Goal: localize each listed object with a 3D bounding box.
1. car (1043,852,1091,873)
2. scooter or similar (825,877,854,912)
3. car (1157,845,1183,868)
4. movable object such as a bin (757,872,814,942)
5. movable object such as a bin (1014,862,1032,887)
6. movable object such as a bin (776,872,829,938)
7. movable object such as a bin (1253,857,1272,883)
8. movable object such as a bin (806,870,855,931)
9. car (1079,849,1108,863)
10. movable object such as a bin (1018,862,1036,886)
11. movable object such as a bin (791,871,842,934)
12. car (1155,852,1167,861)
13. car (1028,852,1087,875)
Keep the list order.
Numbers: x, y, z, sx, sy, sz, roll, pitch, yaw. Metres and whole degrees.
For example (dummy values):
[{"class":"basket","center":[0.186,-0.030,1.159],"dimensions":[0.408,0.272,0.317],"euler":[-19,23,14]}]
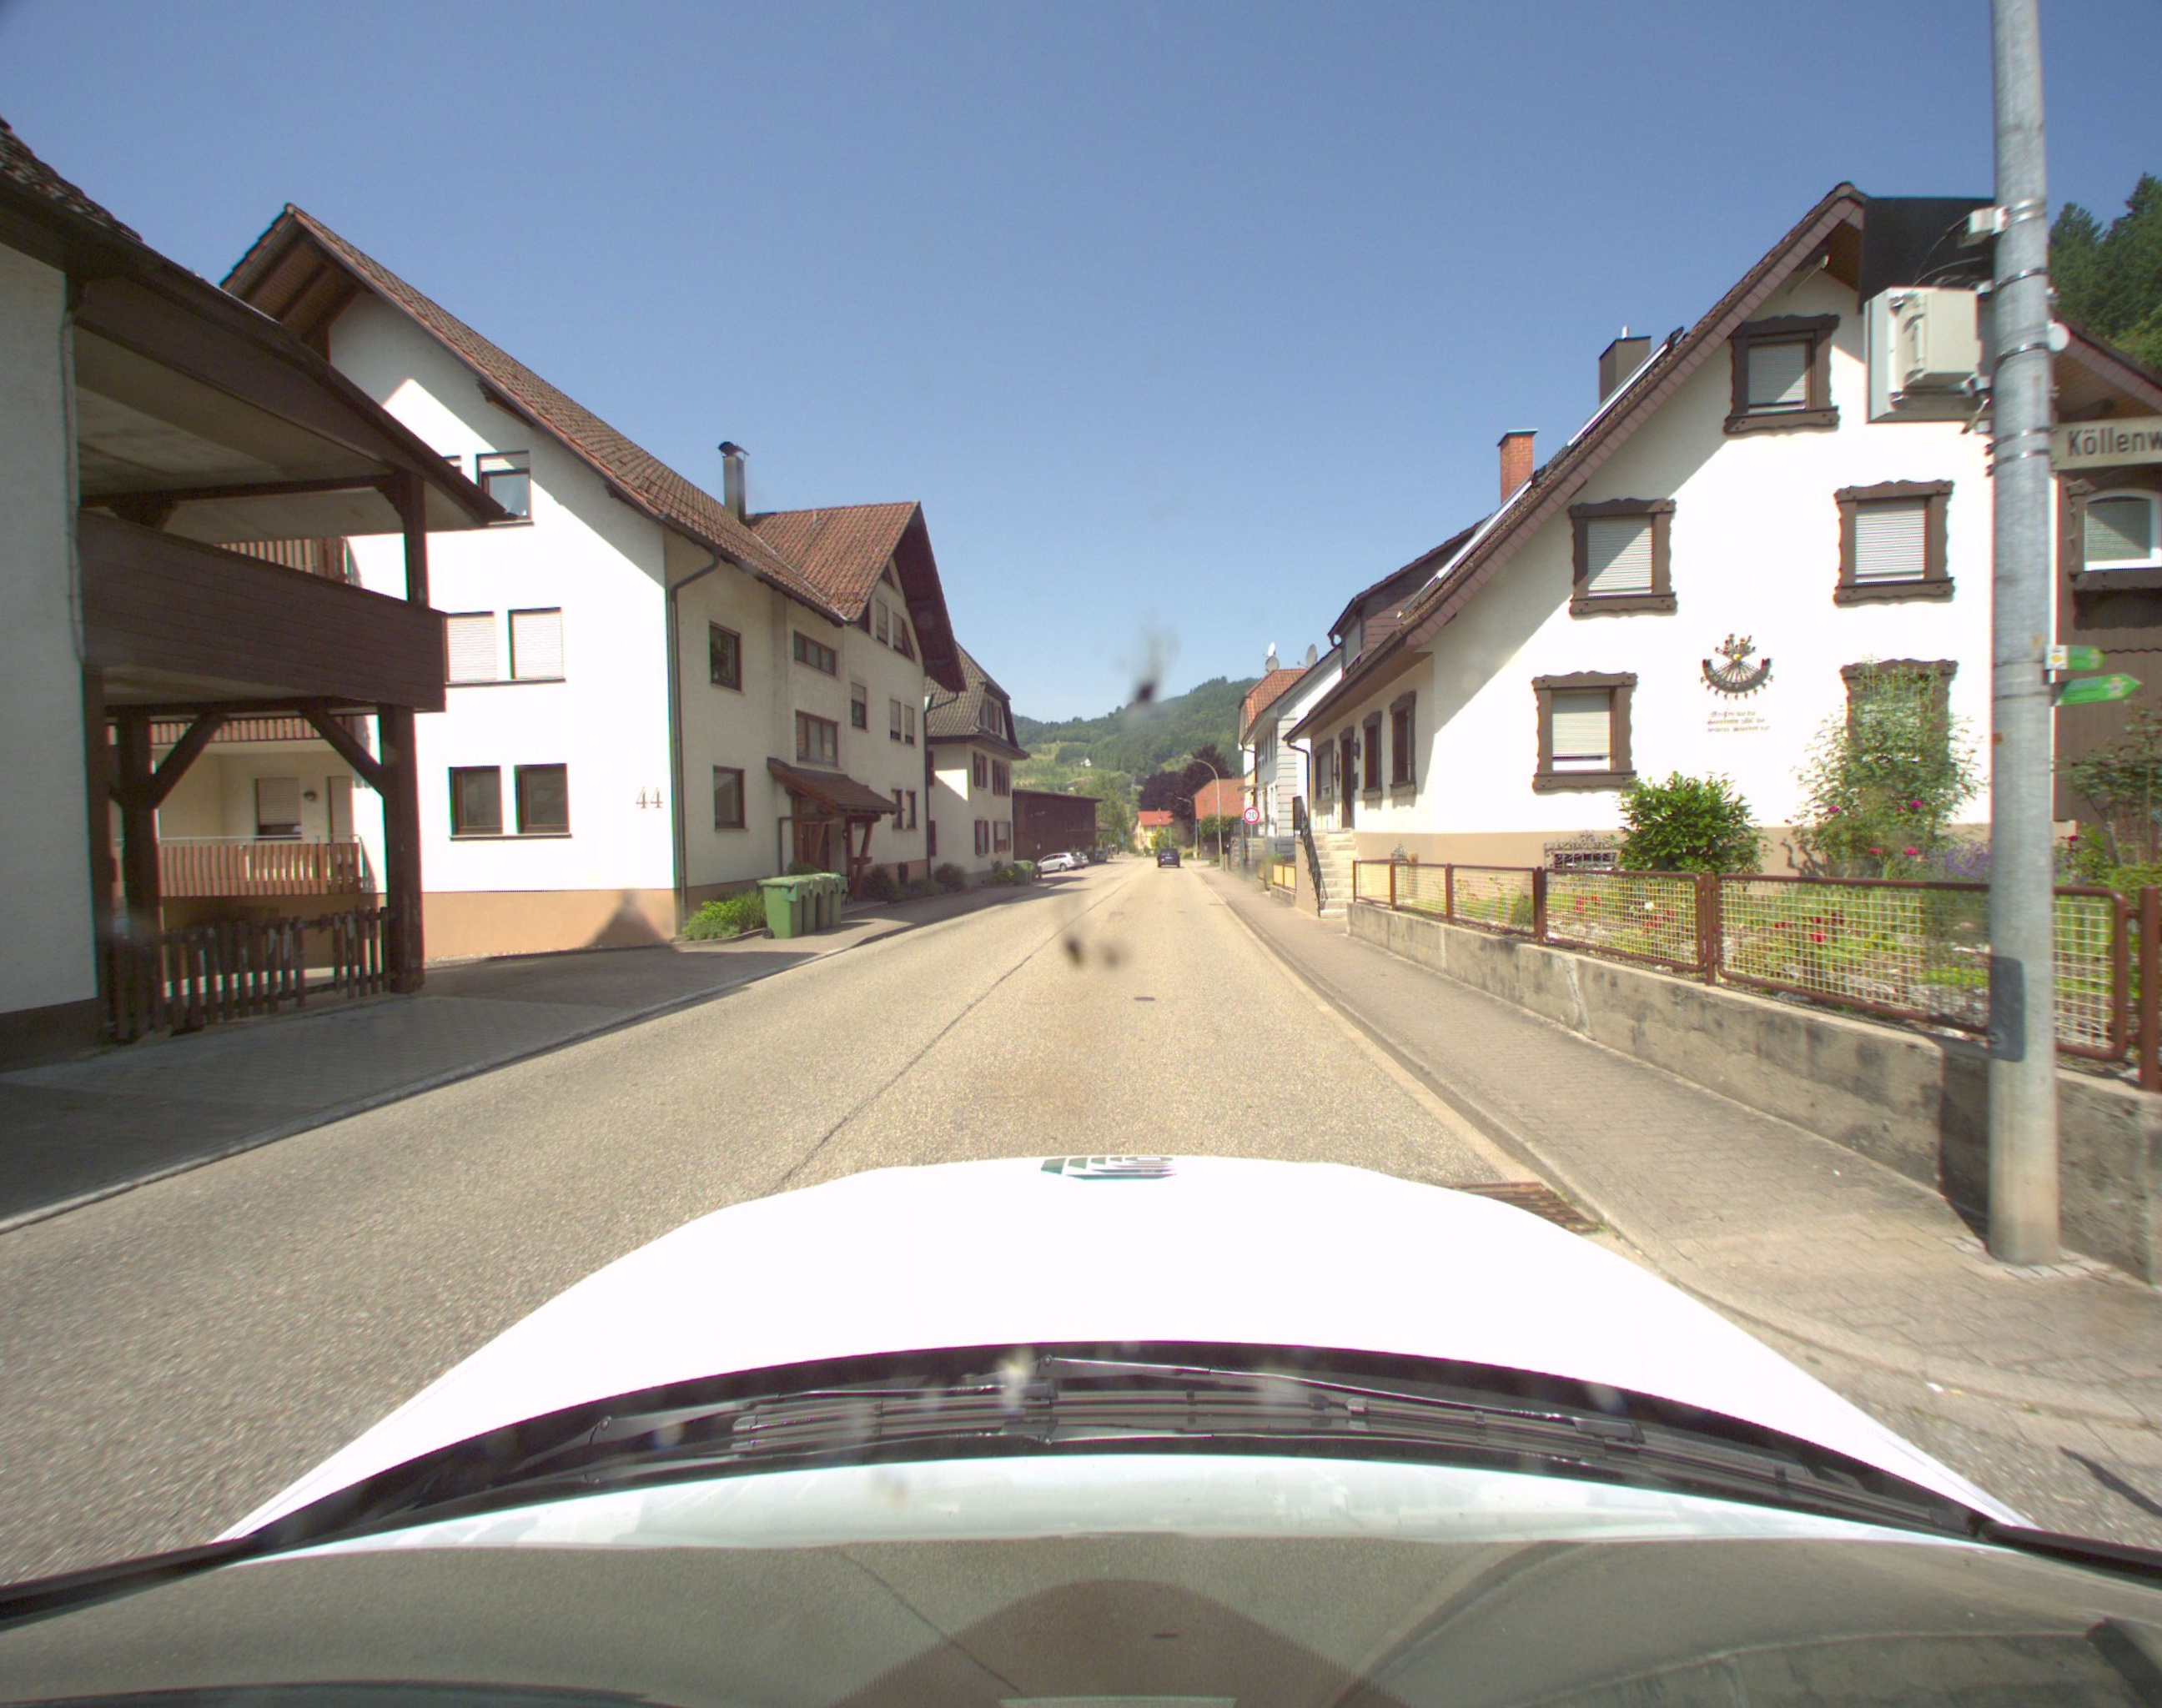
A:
[{"class":"car","center":[-1.168,0.723,69.211],"dimensions":[3.627,1.385,1.720],"euler":[-6,-1,21]},{"class":"scooter or similar","center":[-6.100,1.016,20.573],"dimensions":[0.503,0.826,0.538],"euler":[-1,0,5]},{"class":"car","center":[7.314,0.192,66.521],"dimensions":[1.909,1.698,3.797],"euler":[-2,0,8]},{"class":"movable object such as a bin","center":[-5.360,0.950,14.789],"dimensions":[0.714,1.181,0.599],"euler":[-3,0,7]},{"class":"movable object such as a bin","center":[-2.554,0.905,35.906],"dimensions":[0.672,1.067,0.654],"euler":[-2,0,4]},{"class":"movable object such as a bin","center":[-5.273,0.951,15.445],"dimensions":[0.714,1.181,0.599],"euler":[-3,0,7]},{"class":"movable object such as a bin","center":[7.414,0.662,33.283],"dimensions":[0.700,1.020,0.619],"euler":[-2,0,7]},{"class":"movable object such as a bin","center":[-5.143,0.954,16.750],"dimensions":[0.714,1.181,0.599],"euler":[-3,0,7]},{"class":"car","center":[1.468,0.206,93.194],"dimensions":[1.714,1.454,4.829],"euler":[-1,1,20]},{"class":"movable object such as a bin","center":[-2.415,0.895,36.642],"dimensions":[0.672,1.067,0.622],"euler":[-2,0,4]},{"class":"movable object such as a bin","center":[-5.216,0.953,16.095],"dimensions":[0.714,1.181,0.599],"euler":[-3,0,7]},{"class":"car","center":[11.108,0.315,113.298],"dimensions":[1.471,1.209,2.385],"euler":[-2,0,1]},{"class":"car","center":[-1.930,0.747,66.274],"dimensions":[4.386,1.474,1.937],"euler":[-5,-1,31]}]
